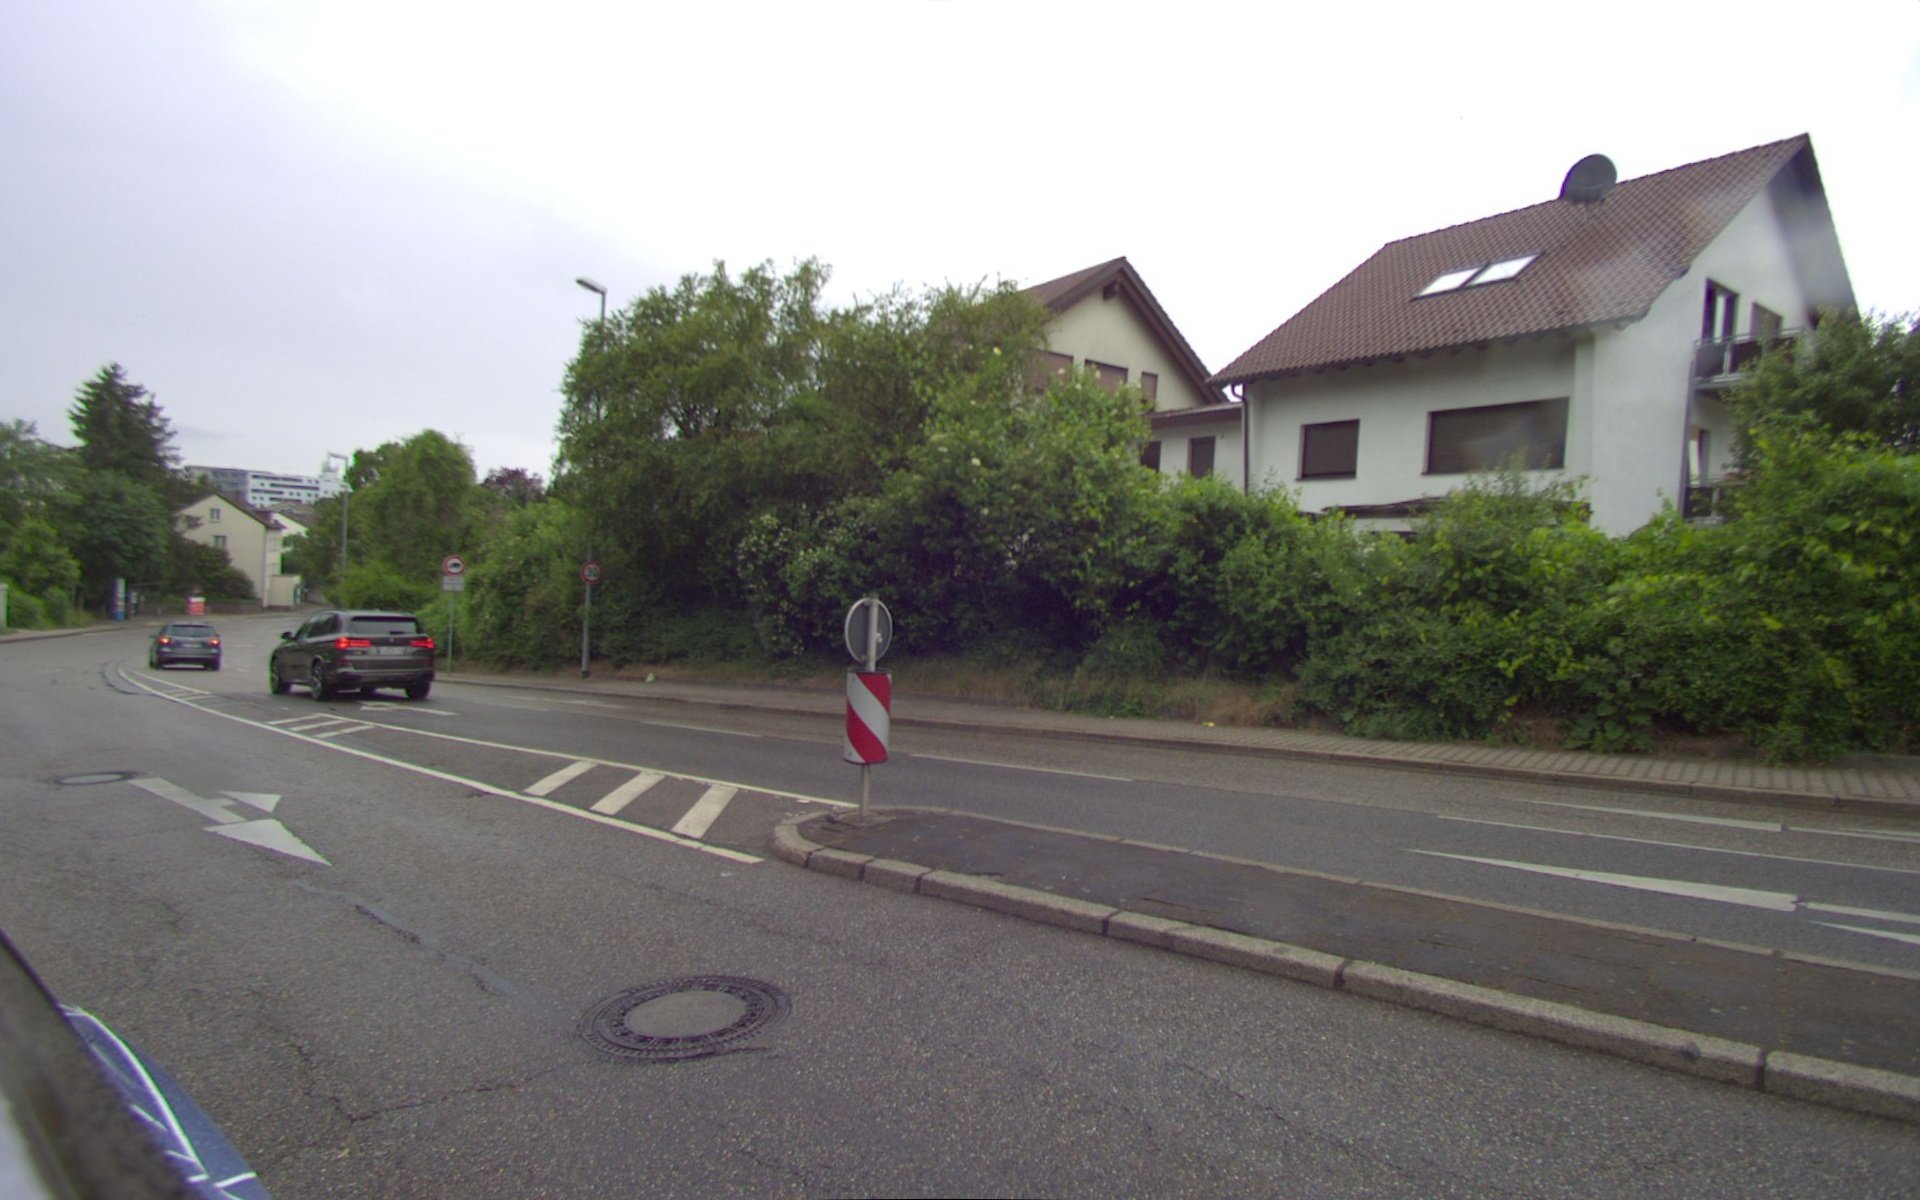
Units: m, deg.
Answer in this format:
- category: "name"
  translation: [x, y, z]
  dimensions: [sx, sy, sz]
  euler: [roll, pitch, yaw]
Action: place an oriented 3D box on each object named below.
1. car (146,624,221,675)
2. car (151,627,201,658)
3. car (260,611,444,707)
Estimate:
- category: "car"
  translation: [-26.445, 1.659, 34.424]
  dimensions: [1.721, 1.614, 4.038]
  euler: [3, -3, -41]
- category: "car"
  translation: [-39.810, 2.145, 51.408]
  dimensions: [1.871, 1.521, 4.008]
  euler: [3, -3, -38]
- category: "car"
  translation: [-12.520, 1.142, 20.707]
  dimensions: [4.717, 1.730, 1.971]
  euler: [-1, -3, 43]
